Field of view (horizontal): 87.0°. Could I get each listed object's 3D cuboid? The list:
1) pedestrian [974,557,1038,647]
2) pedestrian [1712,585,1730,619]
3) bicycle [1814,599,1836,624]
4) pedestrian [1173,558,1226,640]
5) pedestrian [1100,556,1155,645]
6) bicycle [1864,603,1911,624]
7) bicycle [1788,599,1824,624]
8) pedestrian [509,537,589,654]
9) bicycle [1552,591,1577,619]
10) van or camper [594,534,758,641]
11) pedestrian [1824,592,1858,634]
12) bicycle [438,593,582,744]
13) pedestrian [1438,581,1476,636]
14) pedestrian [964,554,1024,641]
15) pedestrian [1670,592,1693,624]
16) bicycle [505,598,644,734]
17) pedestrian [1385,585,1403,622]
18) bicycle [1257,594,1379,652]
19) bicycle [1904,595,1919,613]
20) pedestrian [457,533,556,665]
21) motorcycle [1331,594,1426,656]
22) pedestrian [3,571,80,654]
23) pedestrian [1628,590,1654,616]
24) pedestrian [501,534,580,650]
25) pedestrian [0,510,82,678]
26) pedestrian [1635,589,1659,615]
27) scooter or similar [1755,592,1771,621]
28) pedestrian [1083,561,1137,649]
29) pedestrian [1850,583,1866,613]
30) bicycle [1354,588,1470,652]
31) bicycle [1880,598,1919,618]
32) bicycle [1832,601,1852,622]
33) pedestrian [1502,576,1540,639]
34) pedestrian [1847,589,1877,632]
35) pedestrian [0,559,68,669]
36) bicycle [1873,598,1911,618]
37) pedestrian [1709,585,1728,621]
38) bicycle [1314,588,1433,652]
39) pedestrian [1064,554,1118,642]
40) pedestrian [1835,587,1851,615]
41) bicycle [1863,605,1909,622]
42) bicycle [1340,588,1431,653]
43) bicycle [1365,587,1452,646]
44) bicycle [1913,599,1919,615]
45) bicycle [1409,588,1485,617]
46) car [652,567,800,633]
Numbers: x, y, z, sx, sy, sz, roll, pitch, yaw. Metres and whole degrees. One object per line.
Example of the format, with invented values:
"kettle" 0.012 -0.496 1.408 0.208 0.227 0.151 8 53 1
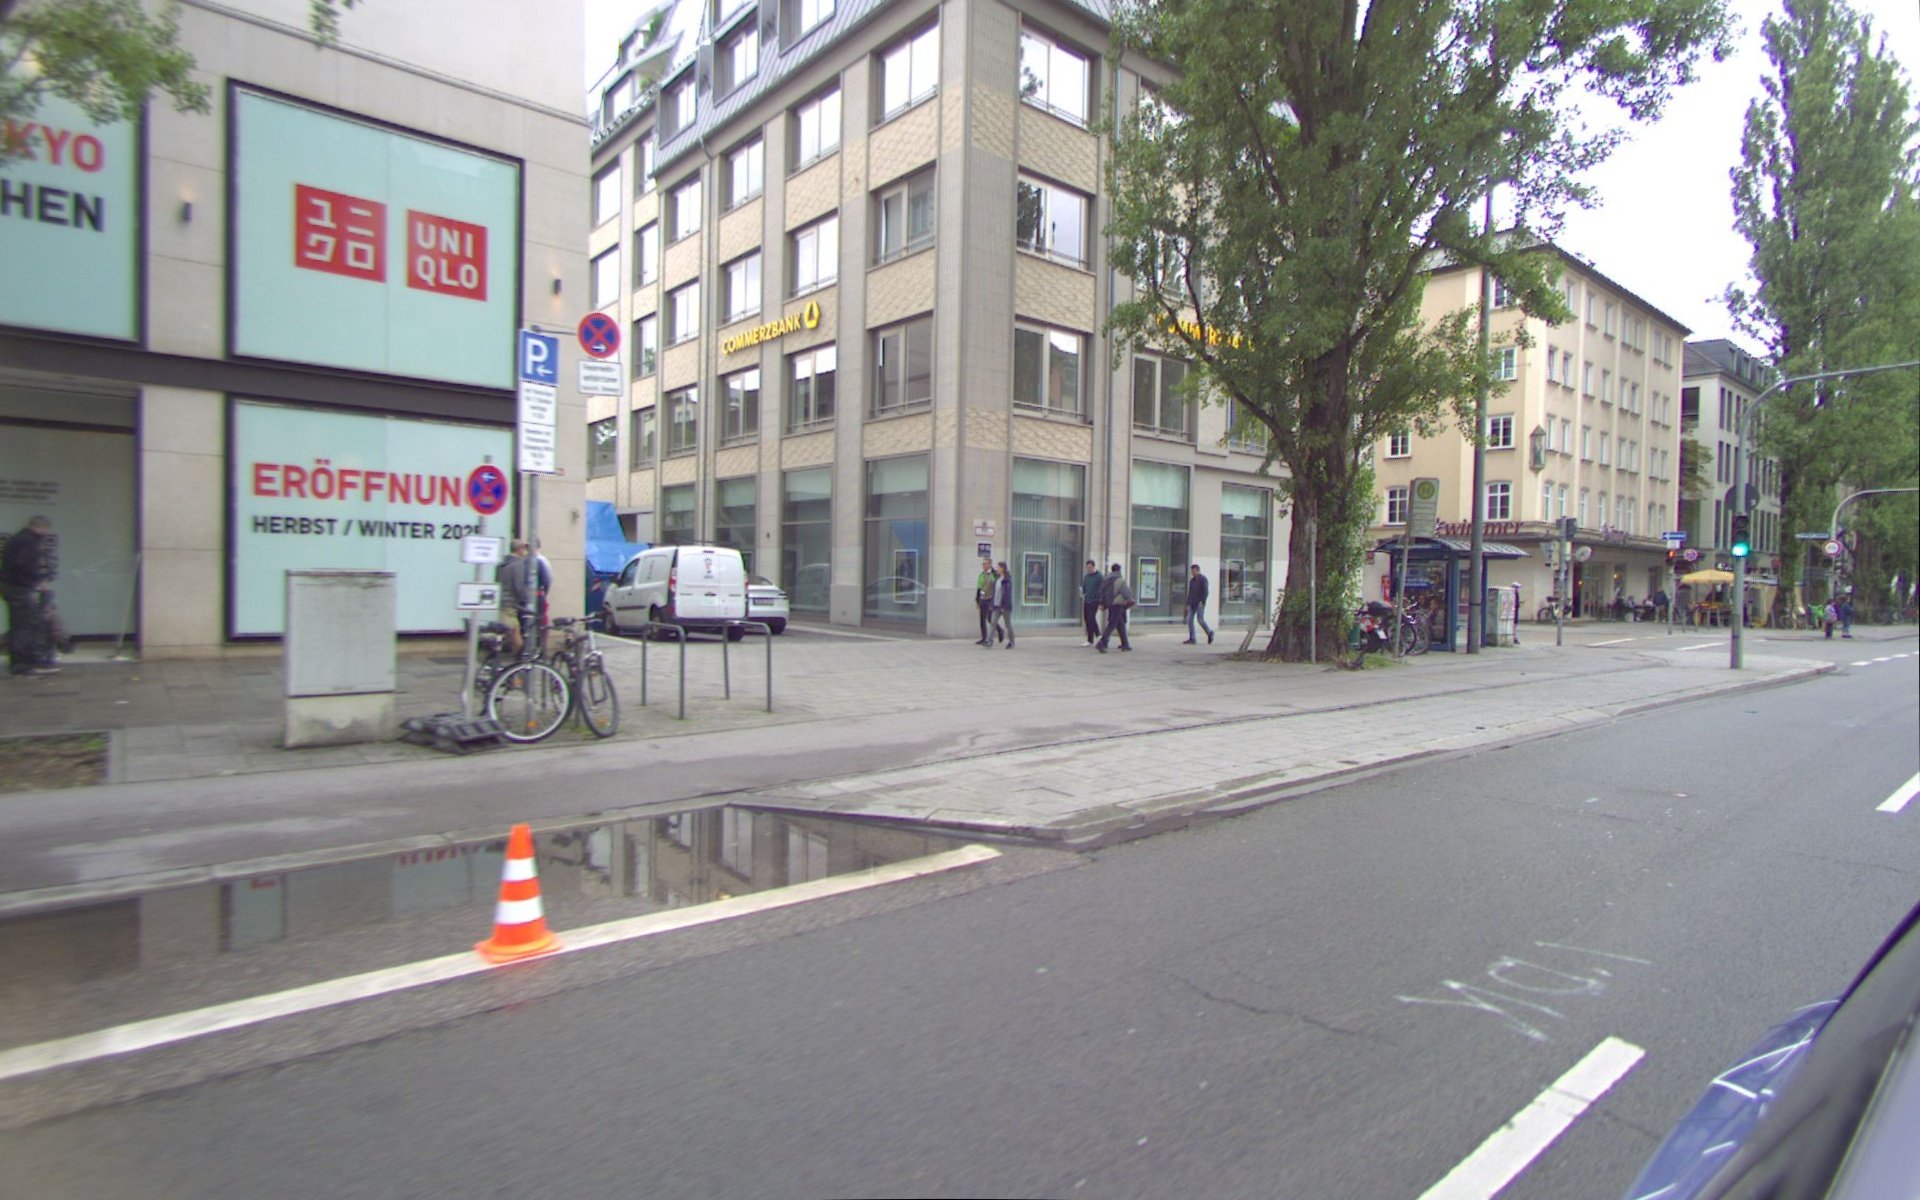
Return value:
"pedestrian" 0.898 0.023 19.809 0.945 1.698 0.752 1 1 -39
"pedestrian" 38.558 0.107 51.247 0.526 1.694 0.542 1 1 -33
"bicycle" 38.889 0.502 45.483 1.740 1.061 0.509 0 1 -43
"pedestrian" 5.556 -0.033 23.448 0.875 1.840 0.819 0 1 -42
"pedestrian" 3.431 -0.010 20.727 0.844 1.779 0.752 -2 3 -39
"bicycle" 54.132 0.784 59.100 1.997 1.096 0.282 2 1 41
"bicycle" 36.995 0.503 44.250 1.774 1.084 0.406 0 -4 -25
"pedestrian" -6.110 -0.077 15.063 0.946 1.683 0.653 0 1 -40
"bicycle" 25.933 0.191 43.411 1.780 1.185 0.435 0 0 -42
"van or camper" -5.761 -0.247 20.211 1.862 1.890 4.117 0 1 -36
"pedestrian" 33.556 0.489 38.554 0.608 1.536 0.768 0 2 4
"bicycle" -4.001 0.549 8.931 1.737 1.124 0.442 5 3 41
"pedestrian" 16.604 0.285 33.792 0.998 1.780 0.752 1 1 -39
"pedestrian" 0.699 -0.062 20.868 0.945 1.739 0.752 1 1 -39
"pedestrian" 36.967 0.395 51.853 0.687 1.609 0.777 1 1 -40
"bicycle" -3.612 0.561 9.406 1.758 1.057 0.476 4 3 43
"pedestrian" 18.695 0.153 43.639 0.437 1.577 0.584 0 0 -39
"bicycle" 7.091 0.432 20.152 0.859 1.029 2.153 0 1 -40
"bicycle" 66.508 0.279 69.345 0.948 1.230 2.577 0 2 -40
"pedestrian" -6.074 -0.027 13.563 0.971 1.694 0.824 0 1 -44
"motorcycle" 8.445 0.483 20.495 0.500 1.154 1.729 0 2 -38
"pedestrian" -11.264 0.143 12.424 0.660 0.981 0.572 0 1 -39
"pedestrian" 33.076 0.145 49.137 0.687 1.213 0.870 0 1 -40
"pedestrian" -6.513 -0.133 15.719 0.946 1.739 0.751 0 1 -40
"pedestrian" -10.317 -0.073 11.232 0.670 1.786 0.869 1 1 -28
"pedestrian" 34.252 0.082 50.454 0.687 1.280 0.777 0 1 -40
"scooter or similar" 35.022 0.280 44.141 0.405 1.259 1.355 2 1 33
"pedestrian" 2.942 0.083 19.855 0.912 1.687 0.561 0 1 -39
"pedestrian" 60.891 -0.131 68.621 0.709 1.995 0.658 1 1 -38
"bicycle" 9.753 0.409 21.932 0.469 1.268 2.320 0 1 -40
"bicycle" 58.542 0.508 63.011 1.864 1.149 0.335 3 1 42
"bicycle" 42.308 0.538 48.555 1.740 0.987 0.509 0 1 -42
"pedestrian" 16.184 0.212 29.210 0.739 1.780 0.710 0 1 -39
"pedestrian" 35.245 0.412 39.546 0.850 1.630 0.766 0 1 -44
"pedestrian" -11.003 0.150 11.936 0.672 1.249 0.671 0 1 -39
"bicycle" 57.442 0.492 62.385 1.658 1.121 0.391 2 1 39
"pedestrian" 36.178 0.158 48.268 0.526 1.694 0.542 1 1 -33
"bicycle" 8.925 0.403 21.923 0.622 1.268 2.348 0 1 -40
"pedestrian" 2.744 -0.068 21.187 0.844 1.779 0.752 -2 3 -39
"pedestrian" 60.341 0.092 69.148 0.889 1.874 0.658 1 1 -39
"bicycle" 54.316 0.793 59.378 1.997 0.957 0.282 2 1 42
"bicycle" 8.827 0.410 21.062 0.441 1.254 1.729 1 1 -38
"bicycle" 10.341 0.357 23.417 0.467 1.268 2.252 1 1 -16
"bicycle" 67.420 0.513 70.161 0.674 1.141 1.902 0 1 -40
"bicycle" 21.958 0.106 45.691 0.982 1.268 2.976 0 1 -40
"car" -5.719 -0.055 24.376 1.865 1.405 4.313 0 2 -37
